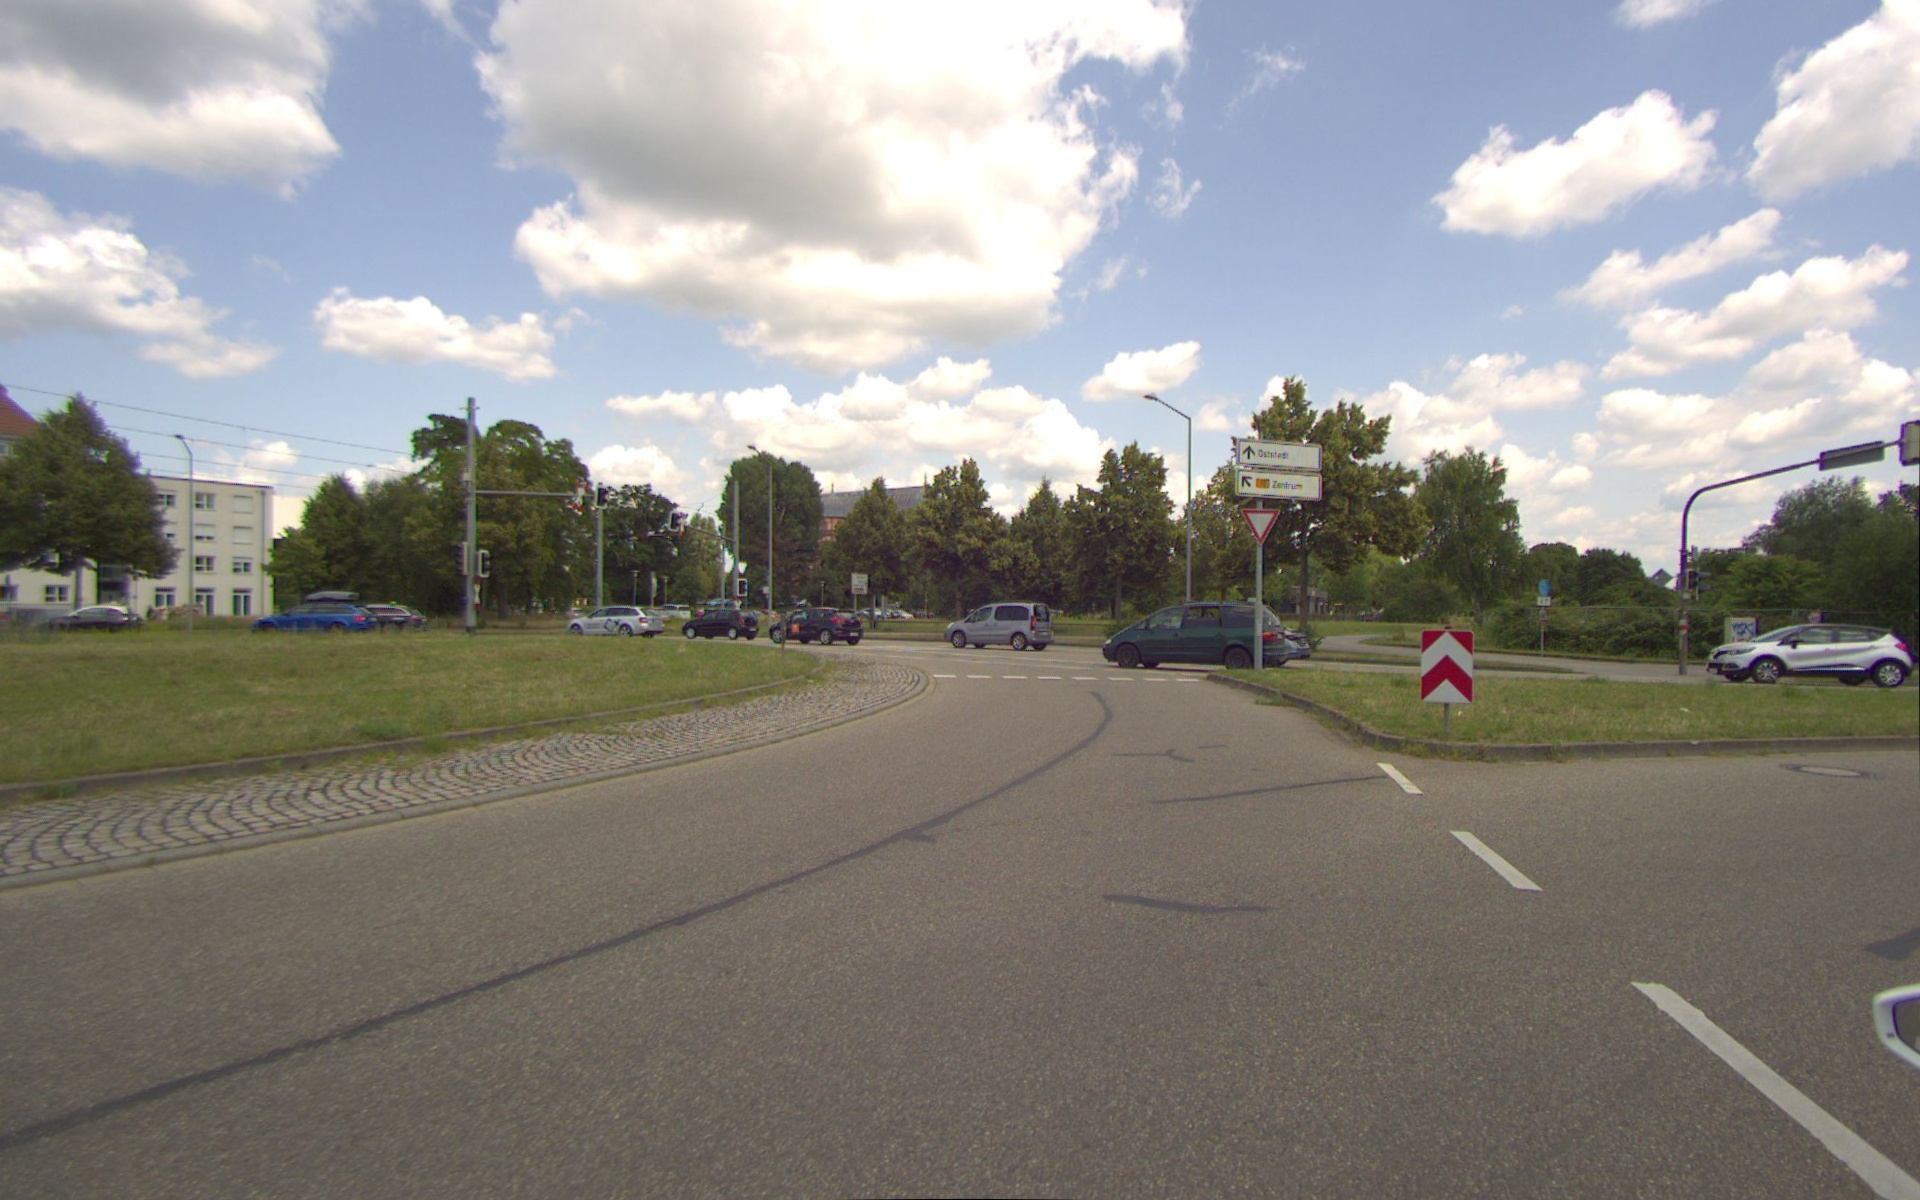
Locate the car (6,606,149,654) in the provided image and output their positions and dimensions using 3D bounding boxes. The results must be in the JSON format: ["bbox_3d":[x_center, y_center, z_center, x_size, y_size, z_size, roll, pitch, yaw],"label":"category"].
[{"bbox_3d":[-39.966,1.289,45.590,1.971,2.040,4.699,0,0,42],"label":"car"}]

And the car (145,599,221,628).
[{"bbox_3d":[-56.872,0.972,73.601,1.963,2.040,3.995,0,0,27],"label":"car"}]

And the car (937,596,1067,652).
[{"bbox_3d":[1.595,0.887,38.835,4.705,2.040,1.995,0,0,33],"label":"car"}]

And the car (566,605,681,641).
[{"bbox_3d":[-14.994,1.001,44.777,4.416,1.542,2.125,0,0,15],"label":"car"}]

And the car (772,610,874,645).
[{"bbox_3d":[-5.523,1.115,40.230,3.915,1.358,1.797,-1,-2,36],"label":"car"}]

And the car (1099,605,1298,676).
[{"bbox_3d":[5.962,0.956,25.239,4.509,1.613,1.911,1,0,29],"label":"car"}]

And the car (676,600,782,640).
[{"bbox_3d":[-11.084,0.948,48.293,4.572,1.845,2.125,0,0,22],"label":"car"}]

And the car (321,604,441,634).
[{"bbox_3d":[-26.844,0.878,46.676,4.404,1.341,1.953,0,0,-3],"label":"car"}]

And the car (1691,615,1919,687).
[{"bbox_3d":[22.047,1.272,25.934,4.691,1.709,2.001,0,0,15],"label":"car"}]

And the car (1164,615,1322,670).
[{"bbox_3d":[8.214,1.197,29.224,4.116,1.442,1.908,0,0,29],"label":"car"}]

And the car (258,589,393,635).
[{"bbox_3d":[-26.125,0.484,41.482,4.329,1.822,1.752,0,0,-11],"label":"car"}]
